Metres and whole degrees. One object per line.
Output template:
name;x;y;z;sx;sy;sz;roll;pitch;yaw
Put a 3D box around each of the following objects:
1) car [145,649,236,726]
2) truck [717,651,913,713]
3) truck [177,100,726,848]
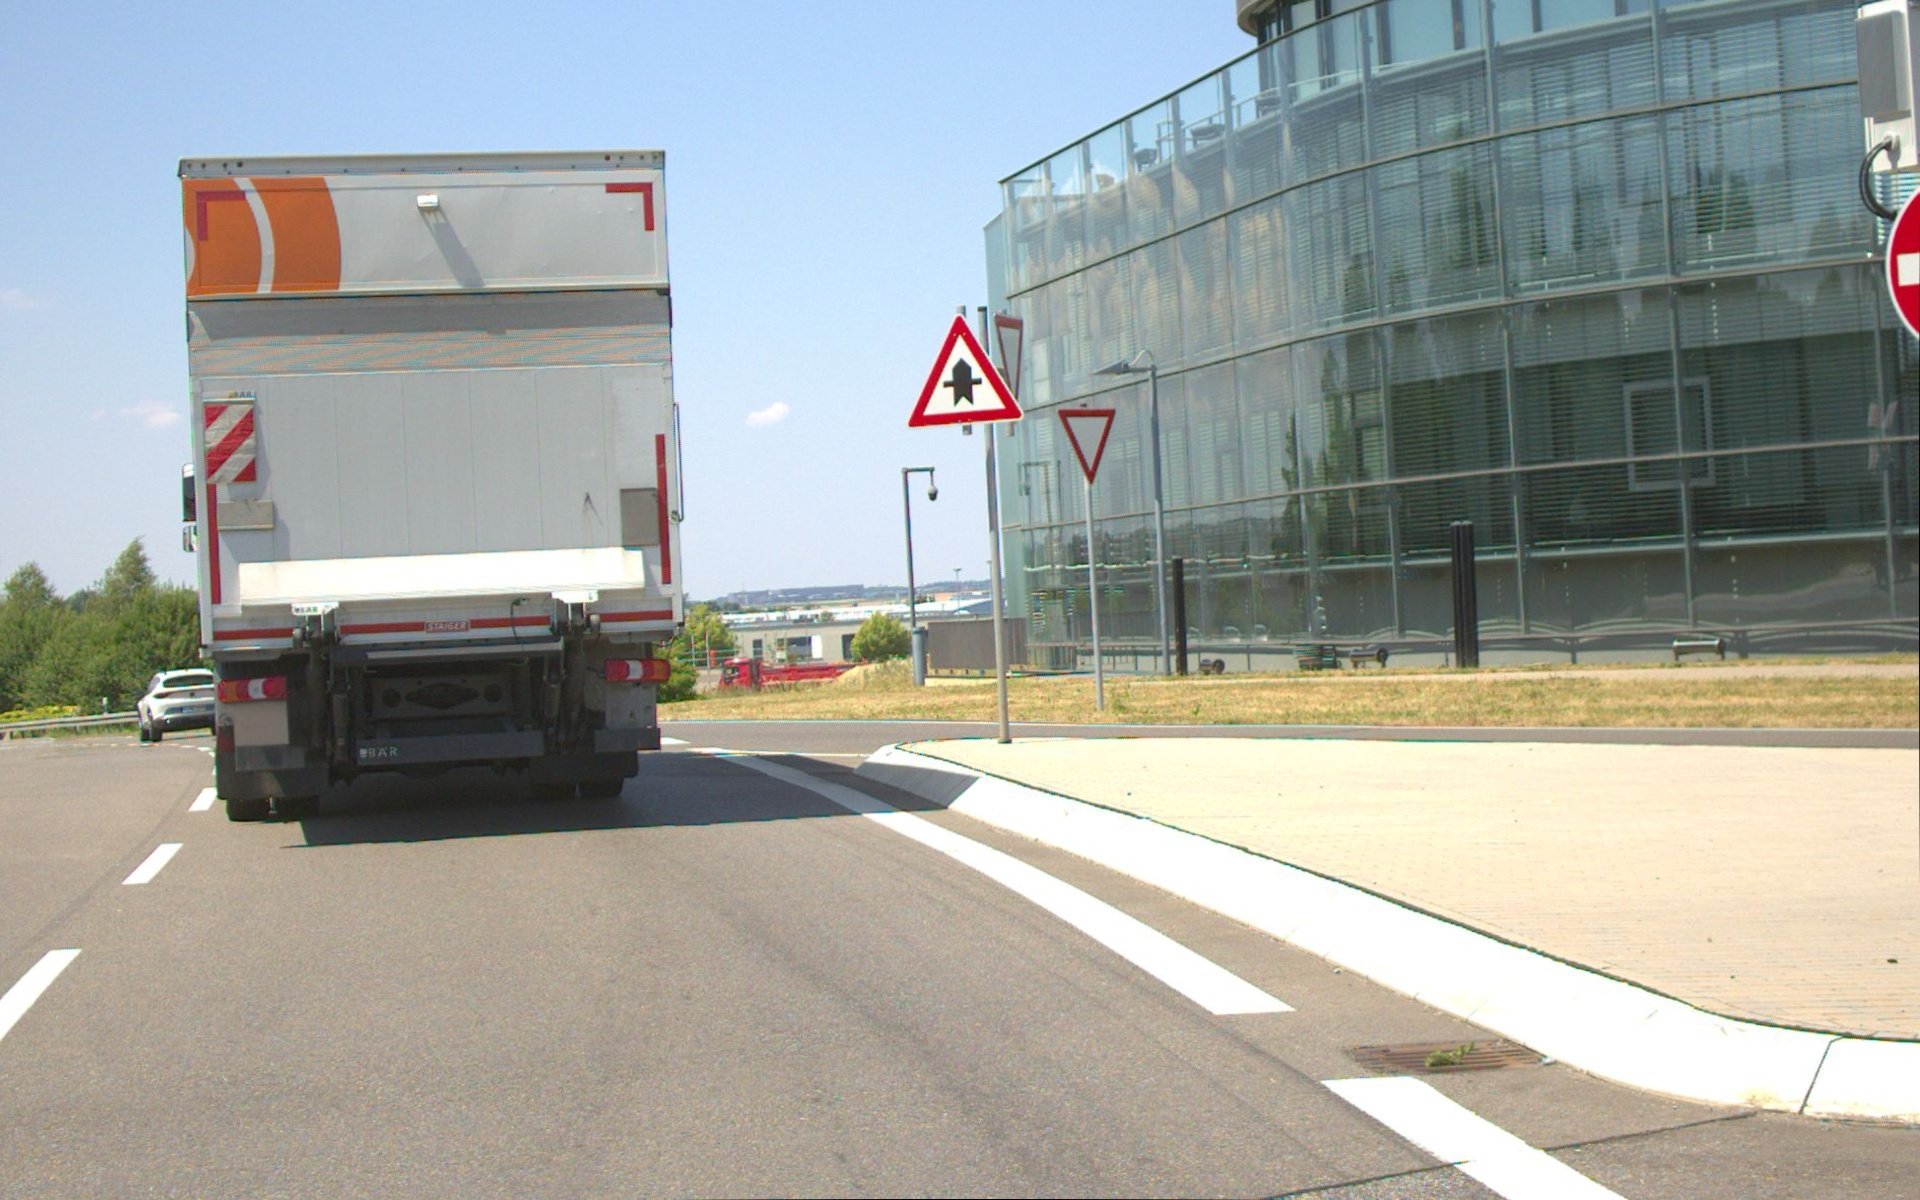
car;-17.107;1.917;76.317;1.802;1.551;4.001;-1;1;-15
truck;-7.905;4.470;187.837;10.369;3.208;2.455;-1;1;14
truck;-3.553;-0.714;22.536;2.769;3.846;9.373;-1;1;-11
